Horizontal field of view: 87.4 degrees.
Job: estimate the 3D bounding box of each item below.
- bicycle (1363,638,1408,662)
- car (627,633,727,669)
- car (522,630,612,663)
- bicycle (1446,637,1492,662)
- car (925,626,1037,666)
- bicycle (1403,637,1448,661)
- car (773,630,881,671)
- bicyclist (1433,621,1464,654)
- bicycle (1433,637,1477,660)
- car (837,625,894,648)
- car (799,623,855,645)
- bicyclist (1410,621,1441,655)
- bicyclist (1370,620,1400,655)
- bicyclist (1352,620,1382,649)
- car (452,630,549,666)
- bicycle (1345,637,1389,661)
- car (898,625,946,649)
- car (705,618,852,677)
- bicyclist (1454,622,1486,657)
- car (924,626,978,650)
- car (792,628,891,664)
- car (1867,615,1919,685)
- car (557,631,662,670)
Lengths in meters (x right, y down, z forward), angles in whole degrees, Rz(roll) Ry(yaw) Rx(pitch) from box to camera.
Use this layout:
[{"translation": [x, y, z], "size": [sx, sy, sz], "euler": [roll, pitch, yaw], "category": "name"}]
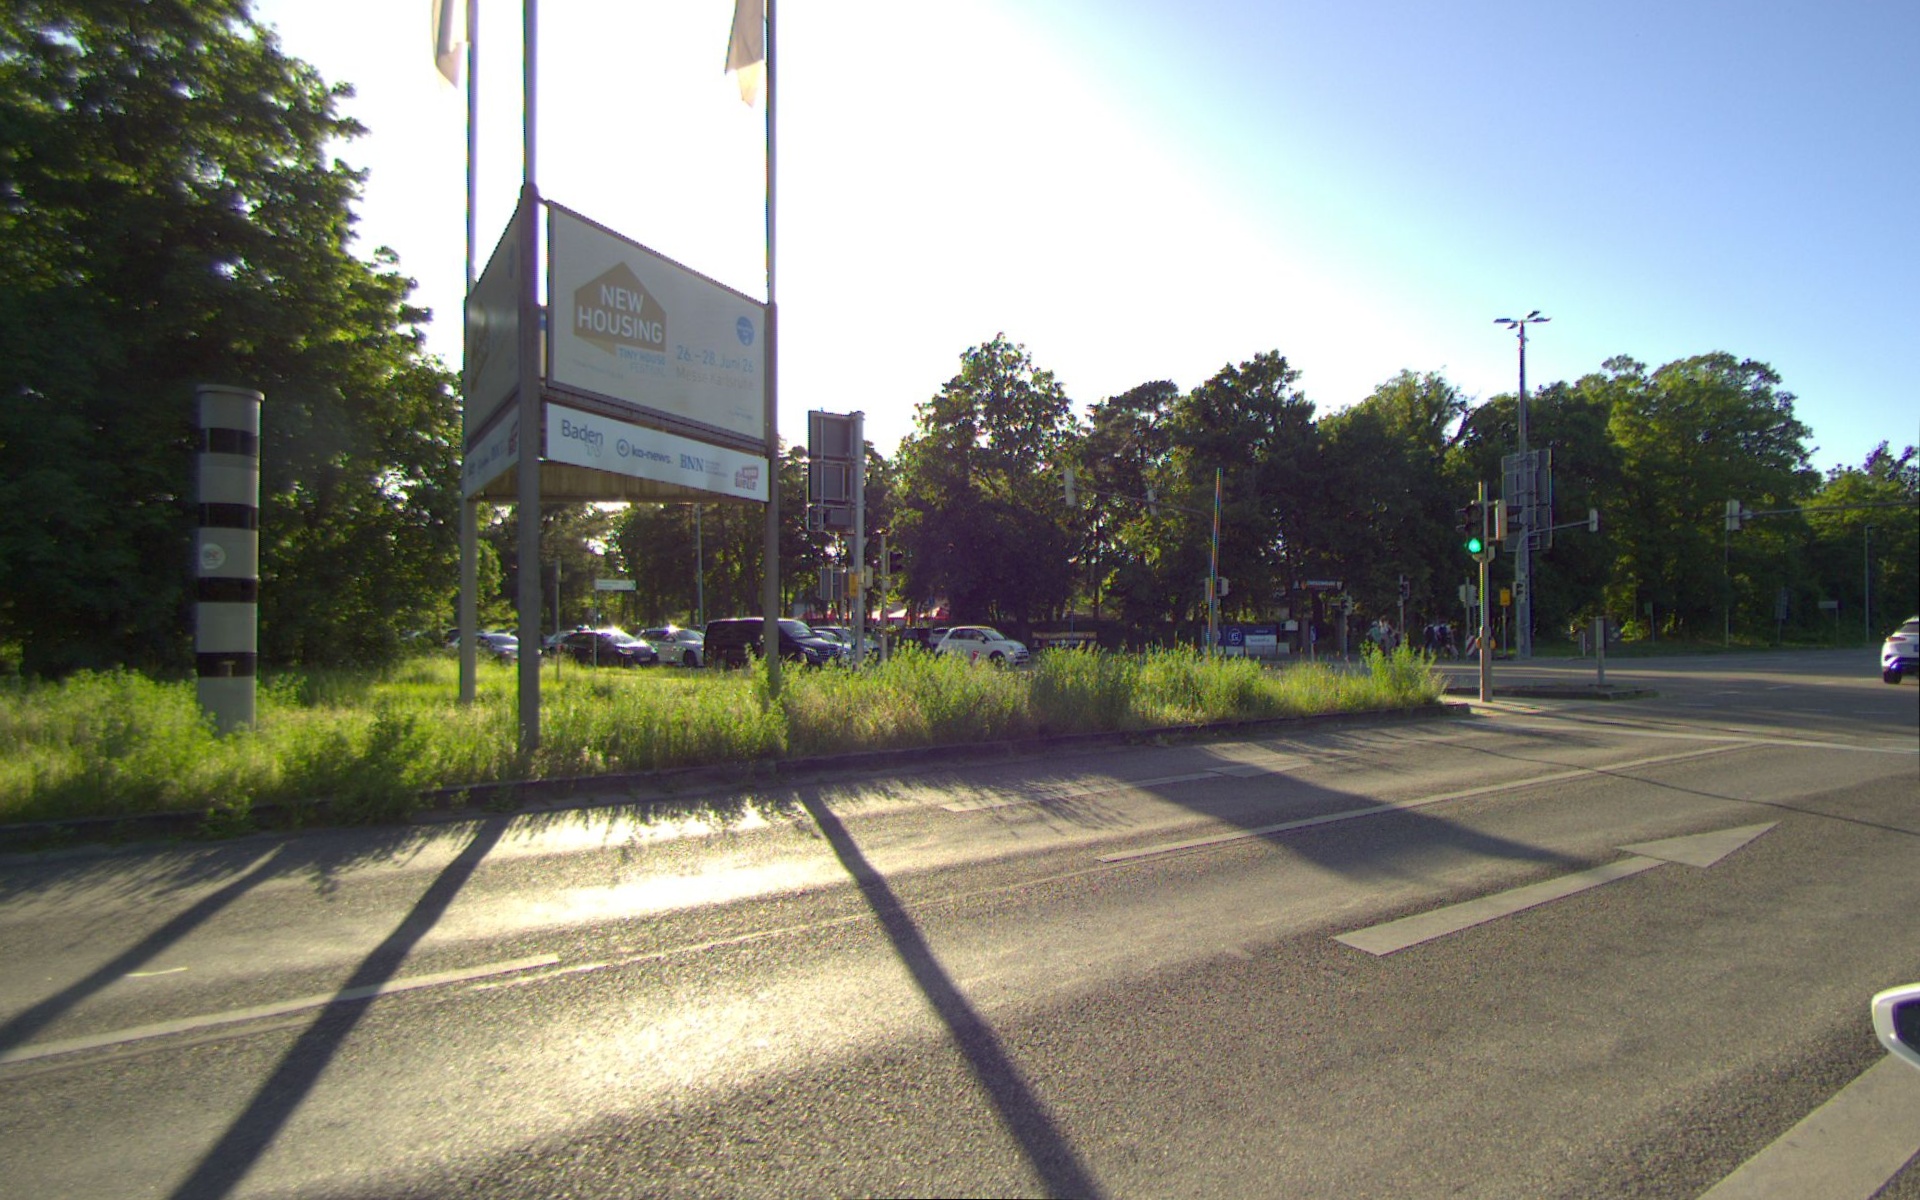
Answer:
[{"translation": [17.462, 2.032, 41.199], "size": [1.888, 0.926, 0.711], "euler": [1, -1, -31], "category": "bicycle"}, {"translation": [-11.481, 2.033, 40.736], "size": [3.733, 1.408, 1.850], "euler": [-1, -2, 31], "category": "car"}, {"translation": [-17.462, 2.026, 44.615], "size": [3.733, 1.408, 1.850], "euler": [-1, -2, 31], "category": "car"}, {"translation": [19.768, 1.930, 38.999], "size": [1.888, 0.926, 0.711], "euler": [1, -1, -31], "category": "bicycle"}, {"translation": [0.779, 1.693, 37.401], "size": [3.733, 1.408, 1.924], "euler": [-1, -2, 31], "category": "car"}, {"translation": [18.821, 1.976, 40.614], "size": [1.888, 0.926, 0.711], "euler": [1, -1, -31], "category": "bicycle"}, {"translation": [-4.869, 1.819, 36.760], "size": [3.733, 1.408, 1.644], "euler": [-1, -2, 31], "category": "car"}, {"translation": [20.182, 1.543, 41.490], "size": [0.979, 1.360, 0.711], "euler": [1, -1, -30], "category": "bicyclist"}, {"translation": [20.572, 1.994, 41.716], "size": [1.888, 0.926, 0.711], "euler": [1, -1, -31], "category": "bicycle"}, {"translation": [-7.023, 2.708, 74.782], "size": [1.789, 1.621, 4.127], "euler": [-1, -1, 43], "category": "car"}, {"translation": [-10.000, 2.570, 75.798], "size": [1.789, 1.621, 3.948], "euler": [-1, -1, 43], "category": "car"}, {"translation": [18.817, 1.536, 40.618], "size": [0.979, 1.373, 0.711], "euler": [1, -1, -30], "category": "bicyclist"}, {"translation": [17.430, 1.543, 41.193], "size": [0.979, 1.408, 0.707], "euler": [1, -1, -30], "category": "bicyclist"}, {"translation": [17.035, 1.443, 42.015], "size": [0.979, 1.208, 0.711], "euler": [1, -1, -30], "category": "bicyclist"}, {"translation": [-18.780, 1.918, 41.019], "size": [3.733, 1.408, 1.850], "euler": [-1, -2, 31], "category": "car"}, {"translation": [17.038, 2.044, 42.003], "size": [1.888, 0.926, 0.711], "euler": [0, -1, -31], "category": "bicycle"}, {"translation": [-2.685, 2.646, 72.255], "size": [1.783, 1.621, 3.492], "euler": [-1, -1, 34], "category": "car"}, {"translation": [-6.146, 1.567, 33.911], "size": [4.847, 1.854, 1.924], "euler": [-1, -1, 31], "category": "car"}, {"translation": [19.819, 1.532, 39.033], "size": [0.979, 1.357, 0.711], "euler": [1, -1, -30], "category": "bicyclist"}, {"translation": [-0.628, 2.652, 70.779], "size": [1.783, 1.621, 4.185], "euler": [-1, -1, 33], "category": "car"}, {"translation": [-4.879, 1.843, 41.216], "size": [3.733, 1.408, 1.850], "euler": [-1, -2, 31], "category": "car"}, {"translation": [21.925, 1.079, 22.237], "size": [3.958, 1.463, 1.852], "euler": [1, -1, -34], "category": "car"}, {"translation": [-13.373, 1.907, 38.328], "size": [3.733, 1.408, 1.850], "euler": [-1, -2, 31], "category": "car"}]
